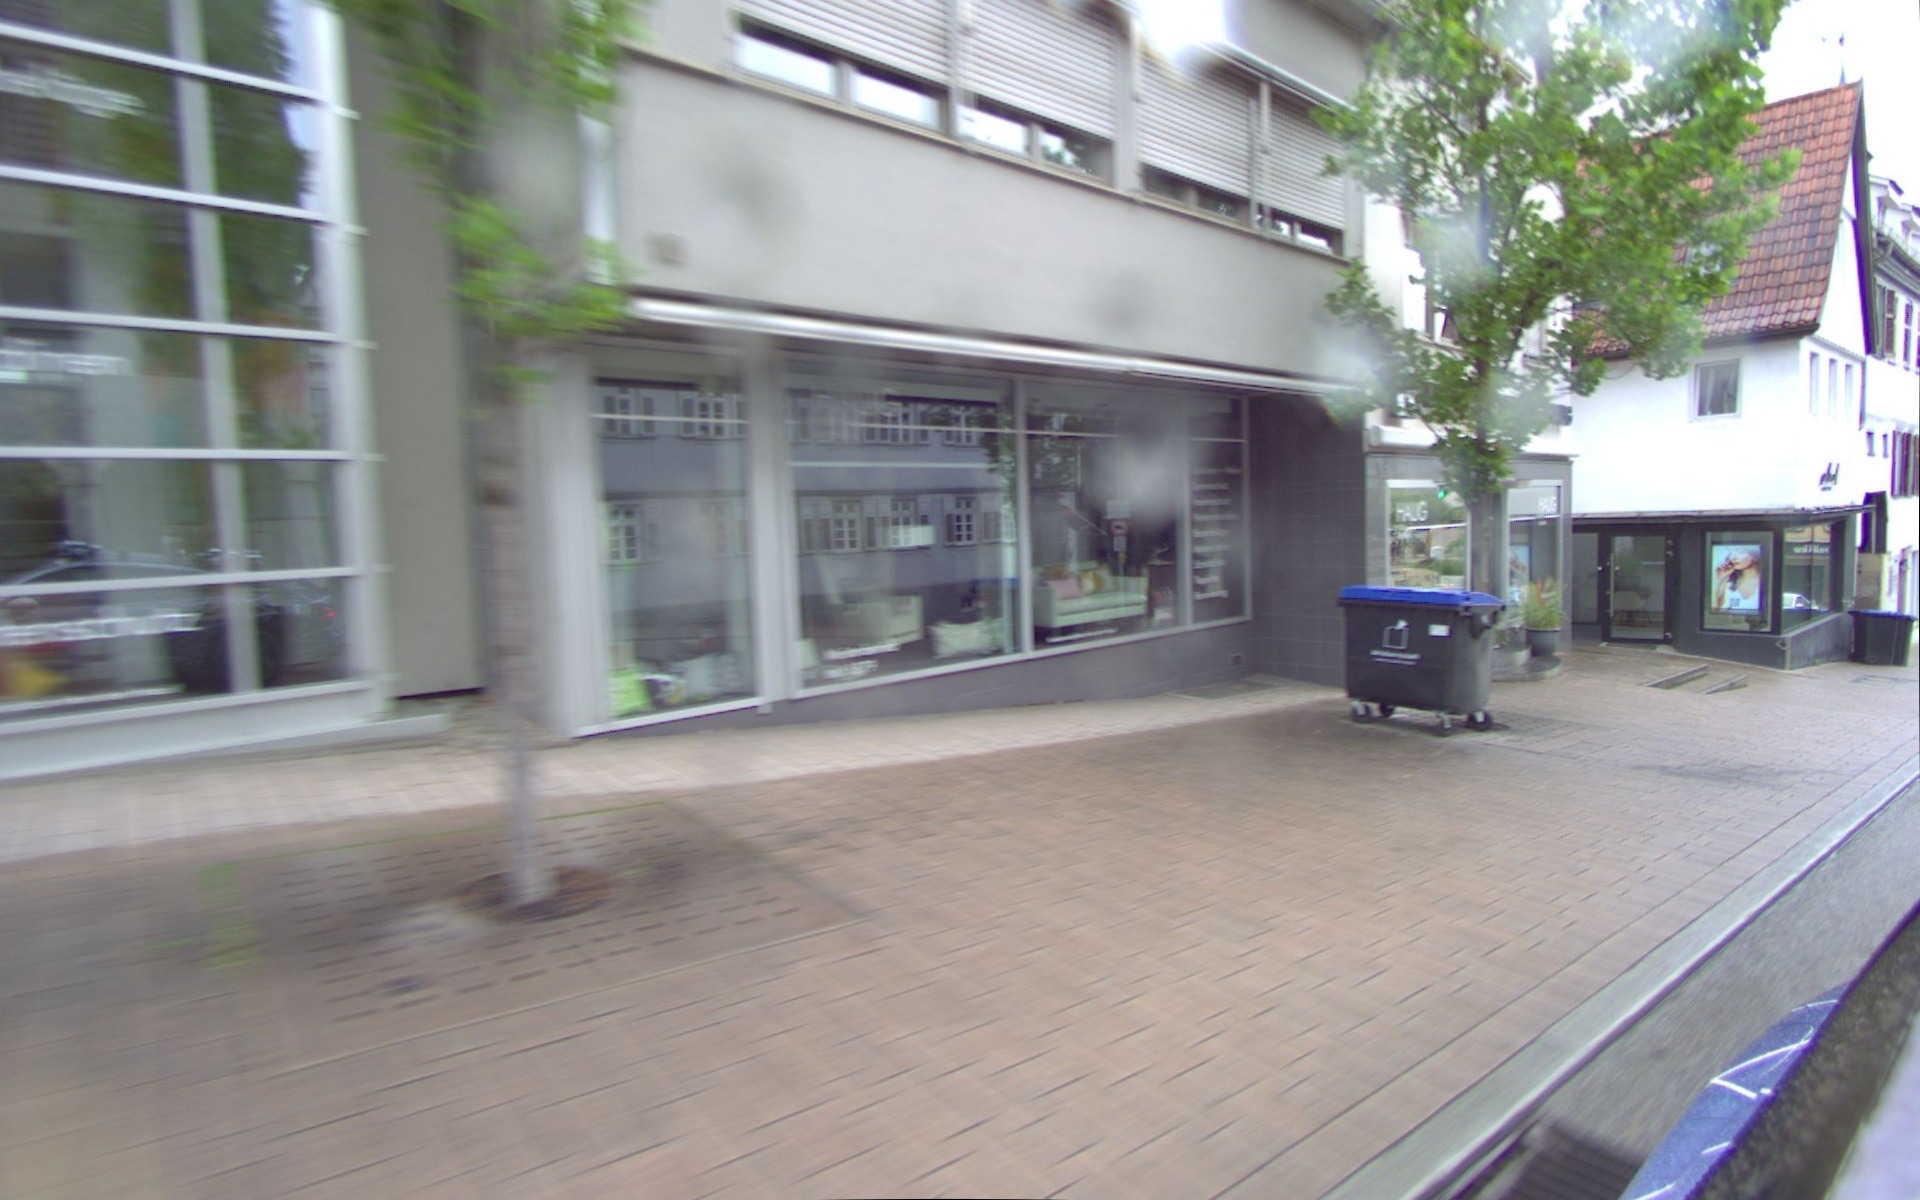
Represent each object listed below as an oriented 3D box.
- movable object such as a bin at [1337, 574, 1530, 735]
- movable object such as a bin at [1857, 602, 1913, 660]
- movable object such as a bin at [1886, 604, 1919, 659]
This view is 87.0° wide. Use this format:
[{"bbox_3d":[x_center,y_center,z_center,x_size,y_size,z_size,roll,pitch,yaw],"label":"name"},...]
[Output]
[{"bbox_3d":[4.495,0.465,9.632,1.151,1.351,1.238,0,3,-39],"label":"movable object such as a bin"},{"bbox_3d":[17.895,0.594,19.579,0.561,1.040,0.468,3,3,9],"label":"movable object such as a bin"},{"bbox_3d":[18.883,0.618,20.100,0.468,1.040,0.597,0,4,-39],"label":"movable object such as a bin"}]
